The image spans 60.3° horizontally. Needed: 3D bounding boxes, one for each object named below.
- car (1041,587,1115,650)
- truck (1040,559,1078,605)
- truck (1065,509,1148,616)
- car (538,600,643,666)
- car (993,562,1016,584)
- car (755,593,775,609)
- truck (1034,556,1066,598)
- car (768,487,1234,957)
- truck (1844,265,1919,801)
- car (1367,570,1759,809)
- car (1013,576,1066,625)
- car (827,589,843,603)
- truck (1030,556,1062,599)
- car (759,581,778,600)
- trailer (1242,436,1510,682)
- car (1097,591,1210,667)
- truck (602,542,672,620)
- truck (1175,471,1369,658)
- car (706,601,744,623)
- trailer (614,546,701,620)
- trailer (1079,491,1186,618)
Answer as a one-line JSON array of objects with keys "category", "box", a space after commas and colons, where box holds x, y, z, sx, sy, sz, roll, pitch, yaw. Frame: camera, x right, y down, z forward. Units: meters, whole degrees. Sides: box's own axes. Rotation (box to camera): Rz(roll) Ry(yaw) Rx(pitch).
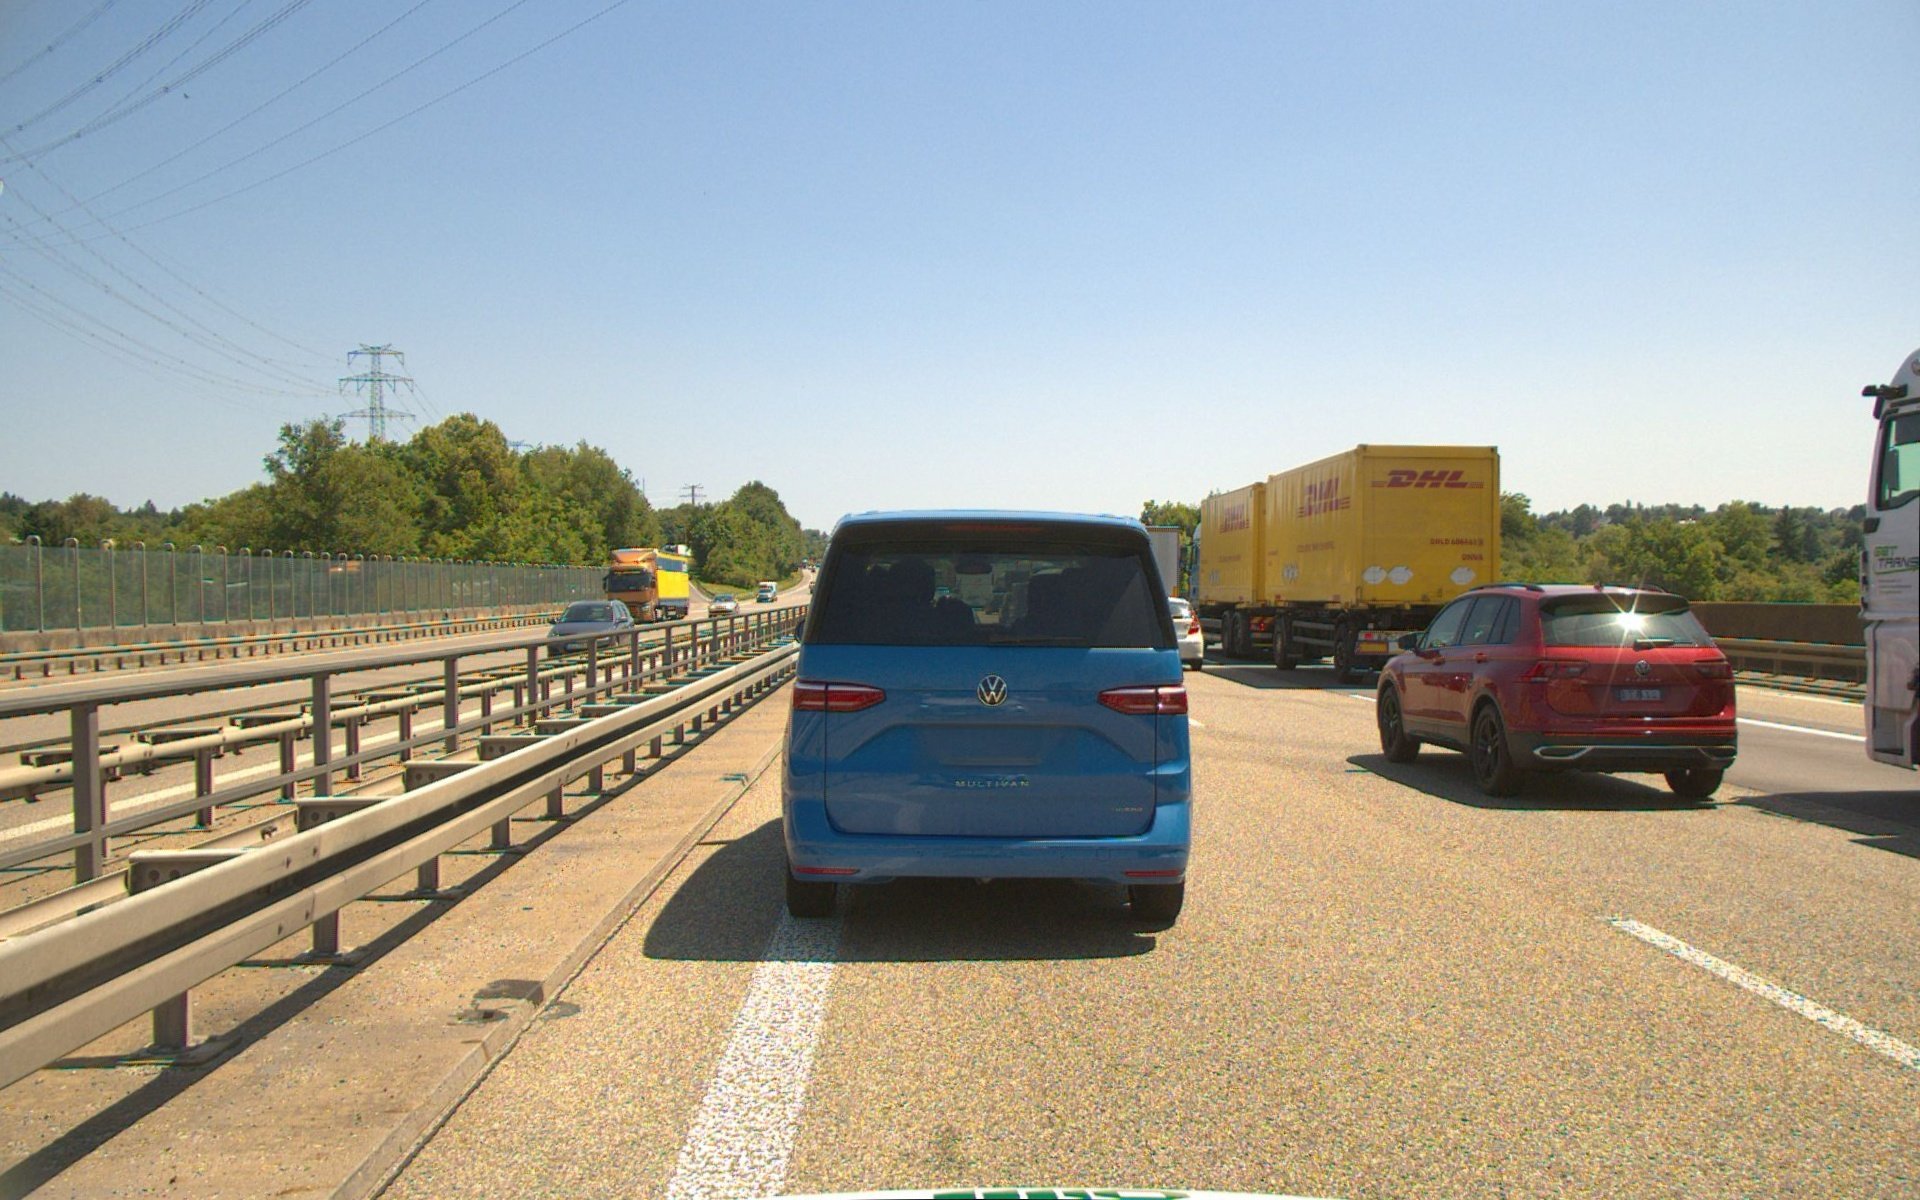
[{"category": "car", "box": [3.370, 0.517, 47.883, 1.778, 1.708, 3.931, 1, 0, -1]}, {"category": "truck", "box": [5.617, -1.004, 94.483, 1.761, 2.492, 4.503, 1, 0, -1]}, {"category": "truck", "box": [6.714, -1.638, 76.892, 2.965, 4.692, 7.919, 1, 0, -1]}, {"category": "car", "box": [-9.357, 0.811, 42.218, 1.726, 1.534, 4.222, -1, 0, -1]}, {"category": "car", "box": [4.276, -2.610, 159.226, 1.953, 2.049, 3.999, 1, 0, -1]}, {"category": "car", "box": [-22.155, 0.081, 188.255, 1.805, 1.782, 3.942, 1, 0, -1]}, {"category": "truck", "box": [5.879, -1.510, 108.637, 1.760, 2.641, 4.304, 1, 0, -1]}, {"category": "car", "box": [0.127, 0.512, 8.794, 1.891, 1.906, 3.999, 1, 0, -2]}, {"category": "truck", "box": [8.682, -0.503, 8.066, 2.794, 4.003, 10.606, 1, 0, -2]}, {"category": "car", "box": [4.895, 0.633, 14.118, 1.674, 1.708, 4.283, 1, 0, -2]}, {"category": "car", "box": [3.300, 0.044, 69.255, 1.922, 1.970, 3.931, 1, 0, -2]}, {"category": "car", "box": [-17.002, -0.564, 224.981, 1.805, 1.782, 3.942, 1, 0, -1]}, {"category": "truck", "box": [5.347, -1.398, 103.201, 1.706, 2.593, 4.209, 1, 0, -1]}, {"category": "car", "box": [-22.401, -1.119, 193.766, 1.805, 2.077, 3.942, 1, 0, -1]}, {"category": "trailer", "box": [7.862, -0.679, 32.667, 2.629, 4.159, 8.975, 1, 0, -3]}, {"category": "car", "box": [4.046, 0.593, 35.103, 1.779, 1.496, 3.930, 1, 0, -2]}, {"category": "truck", "box": [-18.290, -1.023, 93.950, 2.617, 4.258, 6.287, -1, 0, 1]}, {"category": "truck", "box": [7.660, -0.785, 42.114, 2.645, 4.159, 9.935, 1, 0, -2]}, {"category": "car", "box": [-15.018, 0.780, 105.910, 1.654, 1.326, 4.013, -3, 0, 2]}, {"category": "trailer", "box": [-18.235, -0.955, 100.722, 2.574, 4.186, 14.015, 0, 0, 0]}, {"category": "trailer", "box": [6.871, -1.686, 67.467, 2.965, 4.692, 10.922, 1, 0, -1]}]
